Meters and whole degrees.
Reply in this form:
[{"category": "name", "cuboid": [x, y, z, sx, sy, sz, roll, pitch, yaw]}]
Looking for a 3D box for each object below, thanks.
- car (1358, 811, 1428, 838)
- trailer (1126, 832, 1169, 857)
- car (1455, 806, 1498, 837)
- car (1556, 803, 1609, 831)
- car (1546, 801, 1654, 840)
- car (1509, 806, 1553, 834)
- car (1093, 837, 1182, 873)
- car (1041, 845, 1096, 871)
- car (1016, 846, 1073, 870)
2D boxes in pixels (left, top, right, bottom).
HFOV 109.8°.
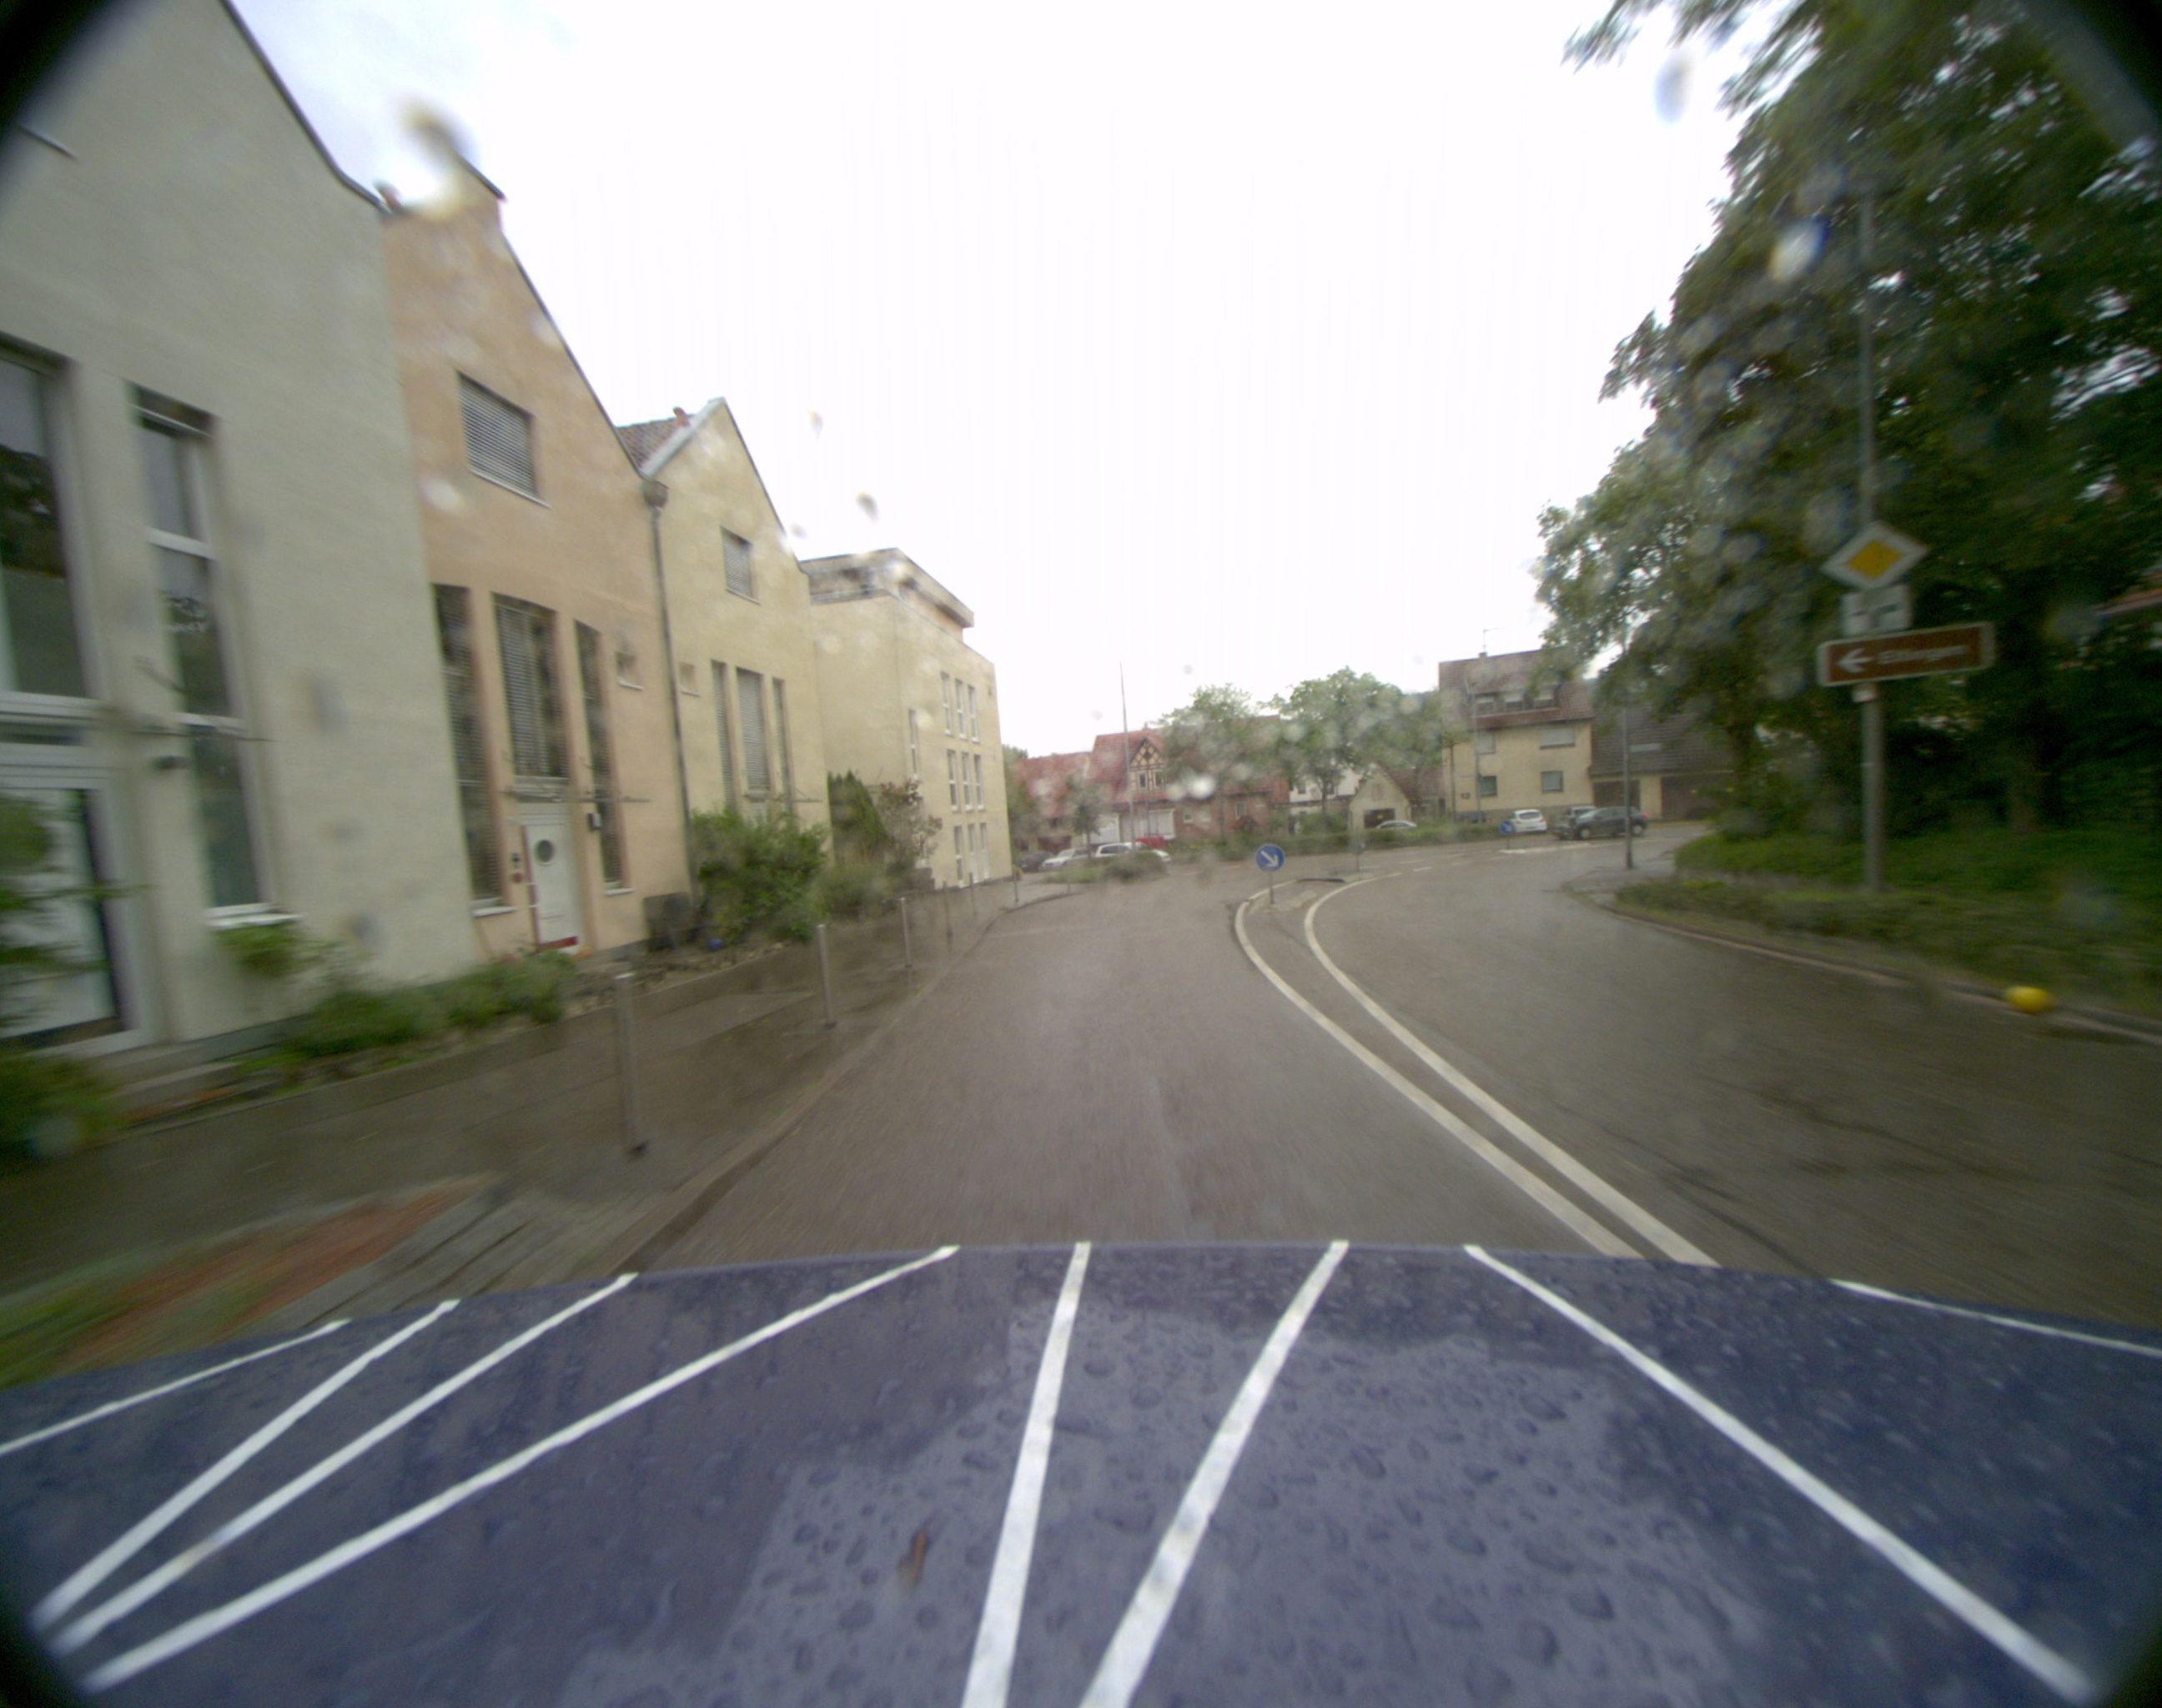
[{"category": "car", "cuboid": [21.224, -1.997, 51.729, 4.255, 1.431, 1.910, -3, 4, 25]}, {"category": "trailer", "cuboid": [4.981, -0.725, 56.919, 2.718, 1.640, 1.414, -3, 2, 29]}, {"category": "car", "cuboid": [25.285, -2.111, 48.652, 1.745, 1.574, 4.001, -5, 4, 19]}, {"category": "car", "cuboid": [30.316, -2.283, 46.085, 1.817, 1.407, 4.631, -4, 4, 23]}, {"category": "car", "cuboid": [25.656, -1.694, 37.666, 3.996, 1.522, 1.998, -4, 5, 3]}, {"category": "car", "cuboid": [27.868, -2.137, 47.189, 1.715, 1.521, 3.435, -4, 2, 21]}, {"category": "car", "cuboid": [2.818, 0.071, 38.432, 4.138, 1.527, 1.760, -3, 3, 41]}, {"category": "car", "cuboid": [-0.831, 0.273, 52.868, 1.619, 1.382, 4.006, -3, 3, 37]}, {"category": "car", "cuboid": [-2.607, 0.279, 54.924, 1.875, 1.368, 4.006, -3, 2, 39]}]
